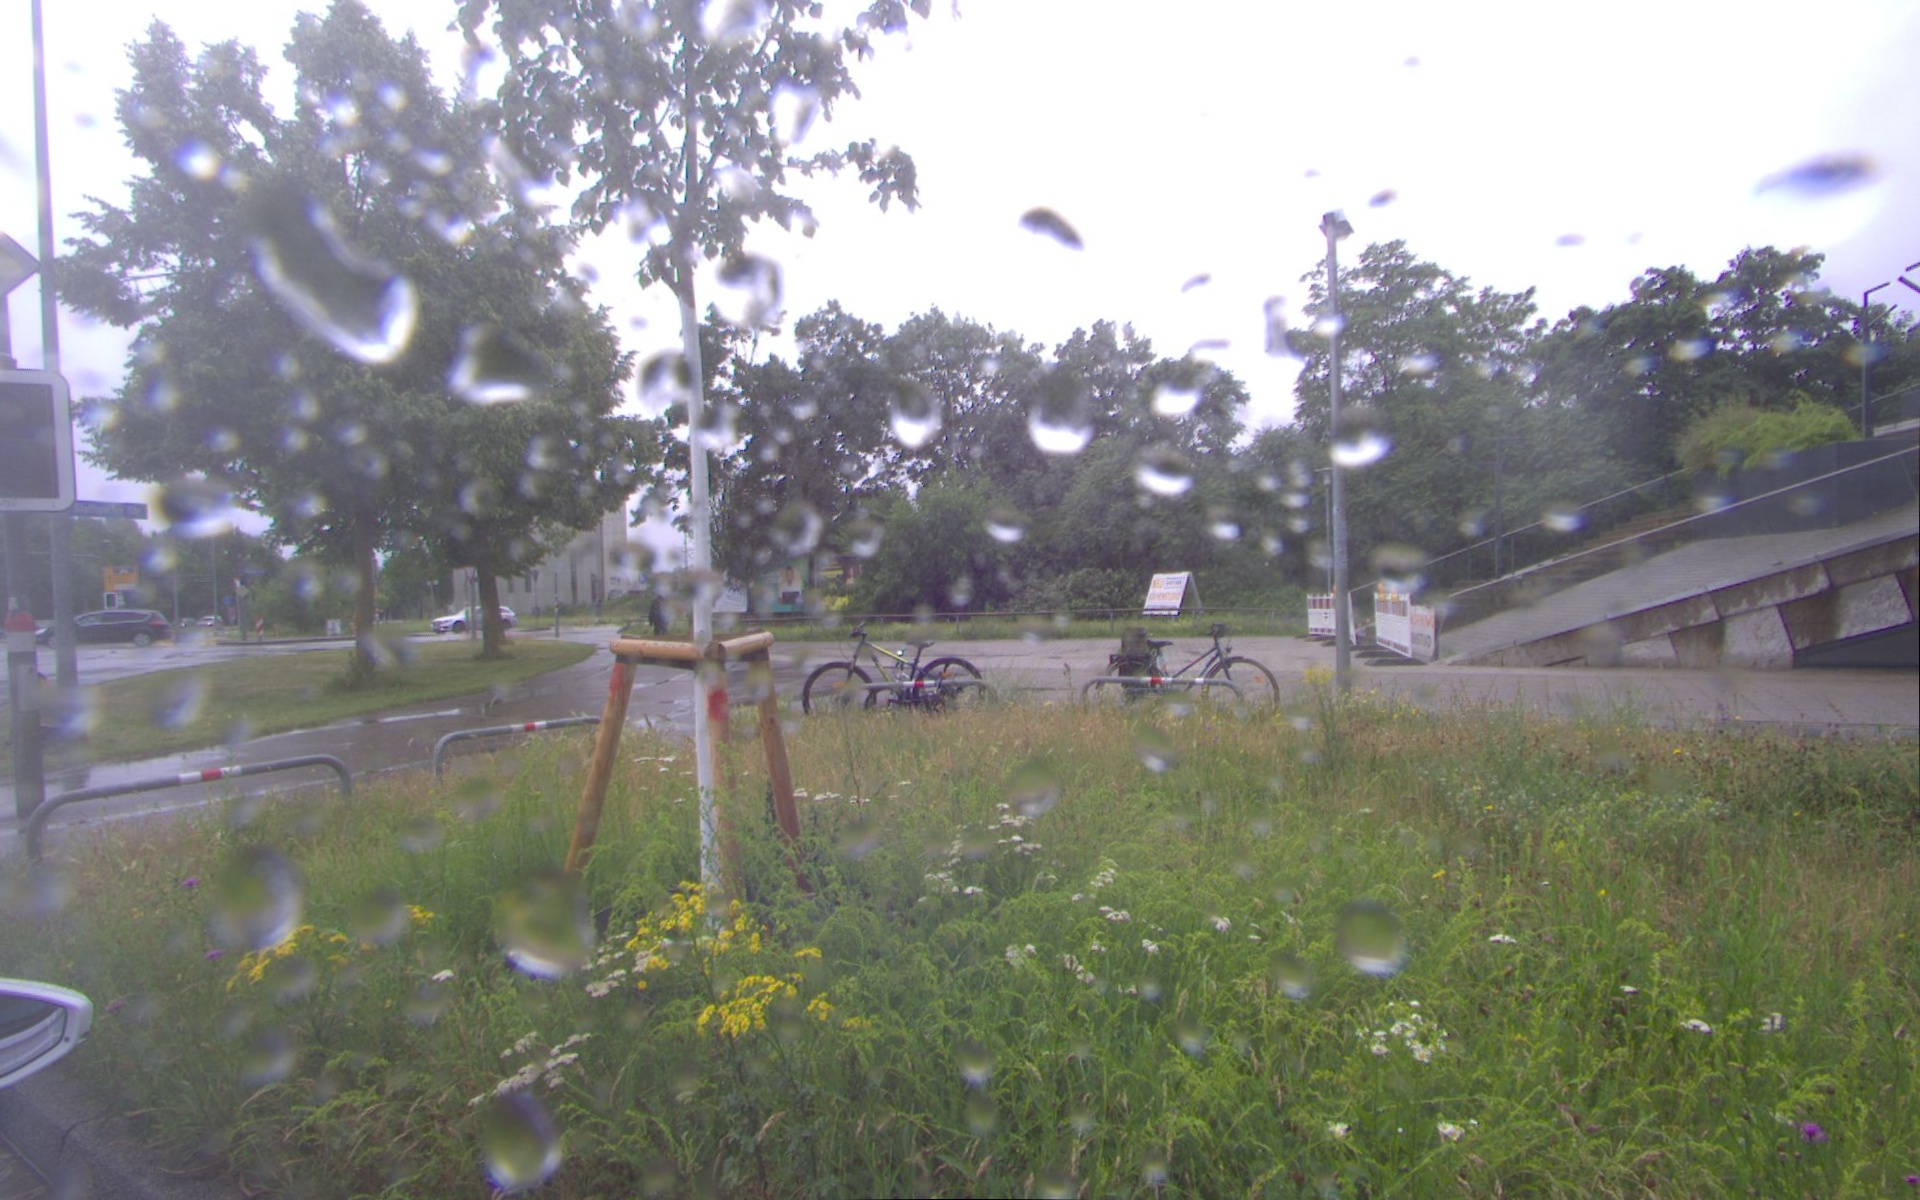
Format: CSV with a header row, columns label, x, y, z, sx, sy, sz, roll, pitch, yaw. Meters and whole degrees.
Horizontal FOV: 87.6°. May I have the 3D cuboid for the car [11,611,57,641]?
label,x,y,z,sx,sy,sz,roll,pitch,yaw
car,-48.183,1.327,52.103,1.677,1.512,3.219,-1,1,-44

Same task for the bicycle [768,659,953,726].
label,x,y,z,sx,sy,sz,roll,pitch,yaw
bicycle,-0.961,0.891,9.799,1.771,0.566,0.320,-1,1,-17

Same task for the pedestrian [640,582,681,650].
label,x,y,z,sx,sy,sz,roll,pitch,yaw
pedestrian,-8.126,0.439,27.189,0.906,1.807,0.808,0,-1,-3

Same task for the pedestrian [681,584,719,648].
label,x,y,z,sx,sy,sz,roll,pitch,yaw
pedestrian,-7.407,0.455,28.585,0.906,1.807,0.808,0,-1,-3

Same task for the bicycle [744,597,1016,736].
label,x,y,z,sx,sy,sz,roll,pitch,yaw
bicycle,-0.735,0.582,9.395,2.480,1.205,0.552,-1,1,-17

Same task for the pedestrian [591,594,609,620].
label,x,y,z,sx,sy,sz,roll,pitch,yaw
pedestrian,-25.304,0.486,70.333,0.705,1.794,0.948,-1,-2,42

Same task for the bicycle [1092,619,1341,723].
label,x,y,z,sx,sy,sz,roll,pitch,yaw
bicycle,2.323,0.611,9.175,2.130,0.858,0.634,-1,0,28

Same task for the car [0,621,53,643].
label,x,y,z,sx,sy,sz,roll,pitch,yaw
car,-78.364,2.673,83.847,1.964,1.772,3.996,0,-2,-14

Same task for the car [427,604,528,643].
label,x,y,z,sx,sy,sz,roll,pitch,yaw
car,-26.912,1.265,55.997,1.763,1.836,4.809,0,3,32

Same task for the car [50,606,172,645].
label,x,y,z,sx,sy,sz,roll,pitch,yaw
car,-37.576,1.148,44.440,3.949,1.668,1.777,1,-2,-35
